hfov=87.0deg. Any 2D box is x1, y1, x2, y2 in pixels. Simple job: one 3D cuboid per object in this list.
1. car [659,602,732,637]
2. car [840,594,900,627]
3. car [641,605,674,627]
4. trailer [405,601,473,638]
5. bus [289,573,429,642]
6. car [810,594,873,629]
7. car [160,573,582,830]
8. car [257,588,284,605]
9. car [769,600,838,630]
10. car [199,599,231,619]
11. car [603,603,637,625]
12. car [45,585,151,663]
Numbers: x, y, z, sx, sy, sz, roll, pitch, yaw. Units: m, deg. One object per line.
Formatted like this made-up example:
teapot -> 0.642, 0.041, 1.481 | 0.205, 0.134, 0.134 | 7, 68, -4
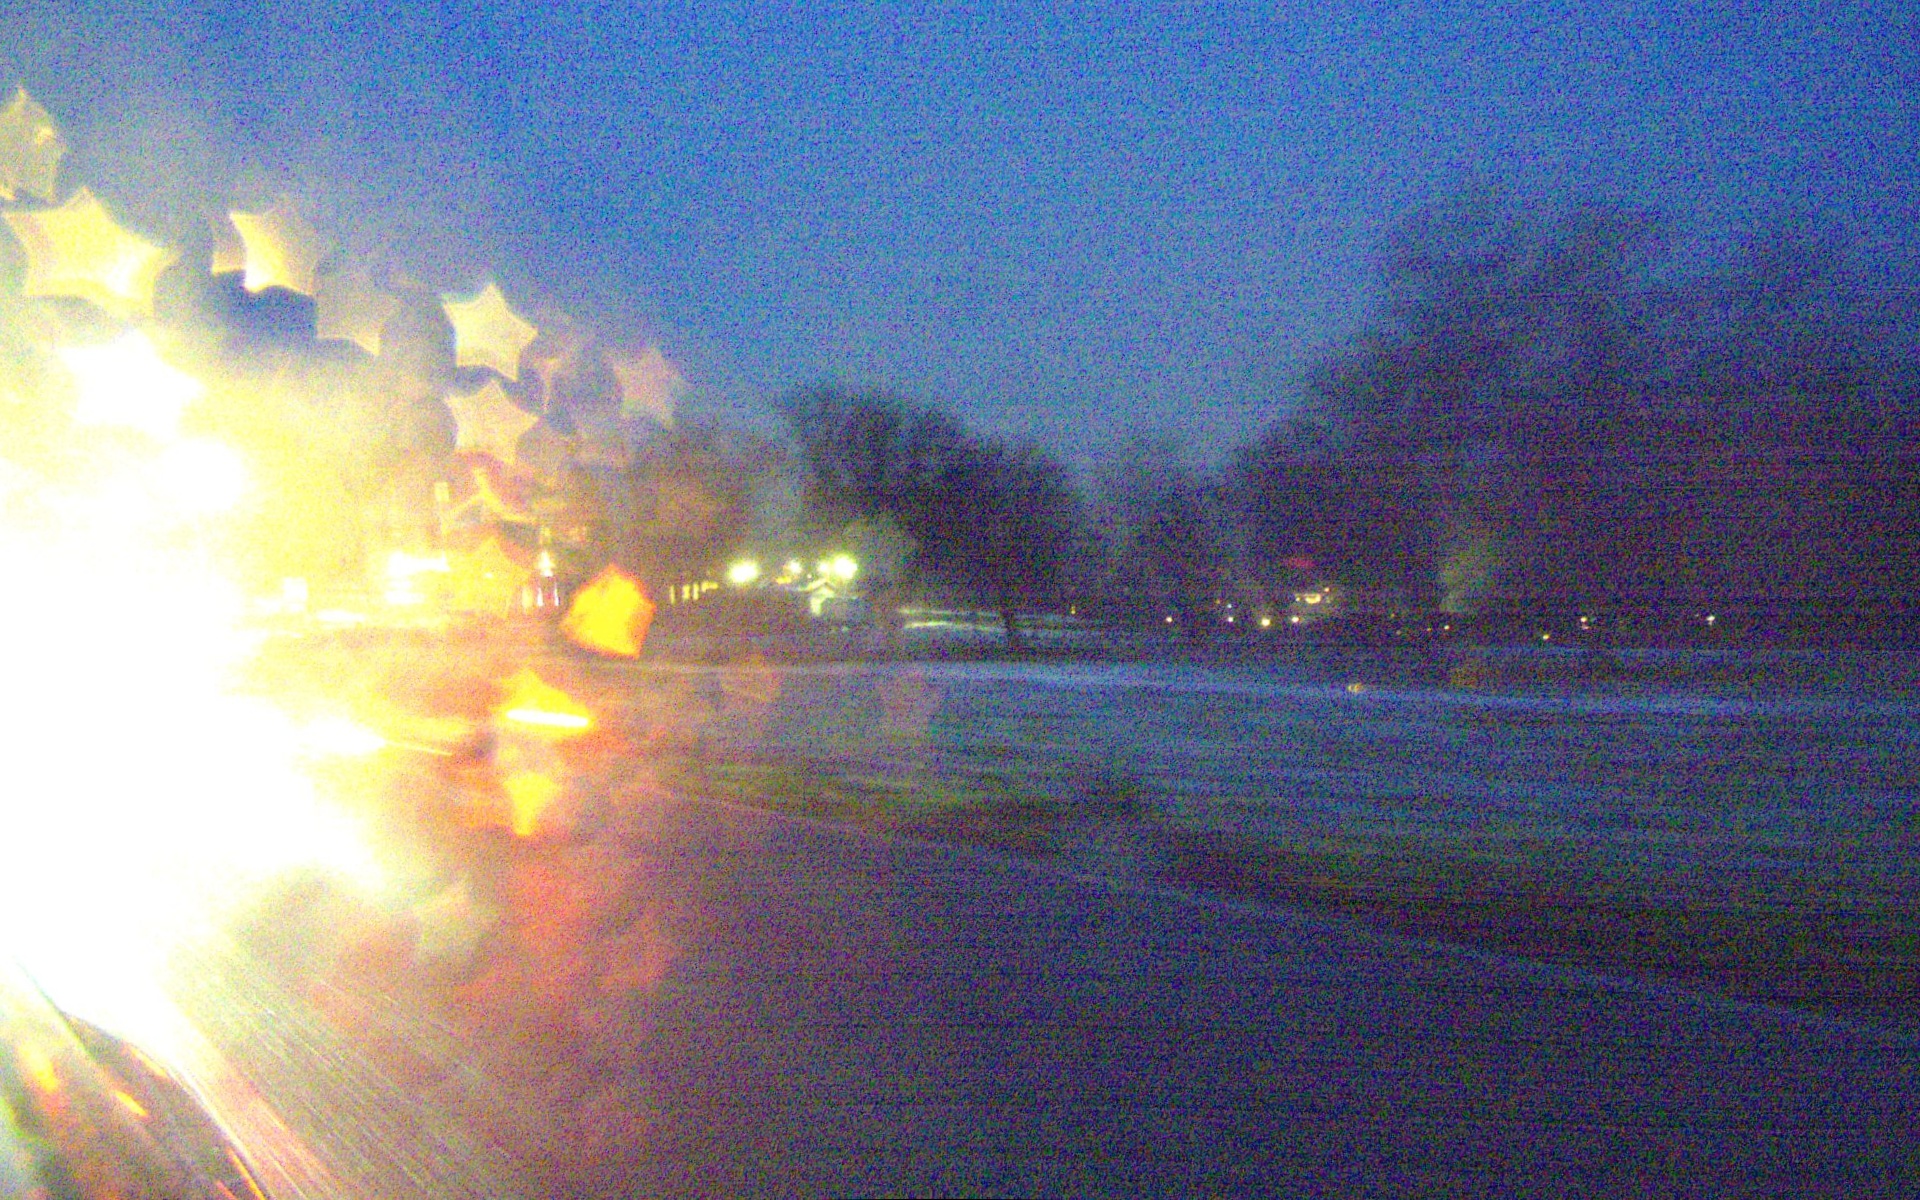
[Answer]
car -> -15.707, 1.118, 60.013 | 4.626, 1.709, 1.917 | 2, 4, 41
car -> -6.217, 0.708, 69.852 | 3.996, 2.071, 1.742 | 2, 4, 39
car -> -24.121, 1.283, 80.744 | 1.832, 1.408, 4.047 | 3, 3, -8
trailer -> -24.778, 0.923, 48.089 | 1.791, 1.690, 4.105 | 2, -2, -43
bus -> -37.202, 0.331, 62.341 | 13.041, 3.897, 2.865 | 1, 2, 38
car -> -7.972, 0.739, 68.009 | 3.996, 2.071, 1.974 | 2, 4, 39
car -> -4.774, 0.630, 7.953 | 4.093, 1.521, 1.618 | -1, -1, 41
car -> -65.023, -0.358, 95.507 | 1.672, 1.611, 3.813 | 0, 1, -28
car -> -10.281, 0.935, 66.278 | 4.626, 1.709, 1.917 | 2, 4, 41
car -> -57.884, 0.714, 78.667 | 1.613, 1.522, 4.129 | 2, -2, -32
car -> -27.049, 1.102, 80.595 | 1.832, 1.408, 4.047 | 3, 3, -8
car -> -25.132, 0.709, 29.437 | 1.971, 2.028, 4.849 | -3, 1, -44
